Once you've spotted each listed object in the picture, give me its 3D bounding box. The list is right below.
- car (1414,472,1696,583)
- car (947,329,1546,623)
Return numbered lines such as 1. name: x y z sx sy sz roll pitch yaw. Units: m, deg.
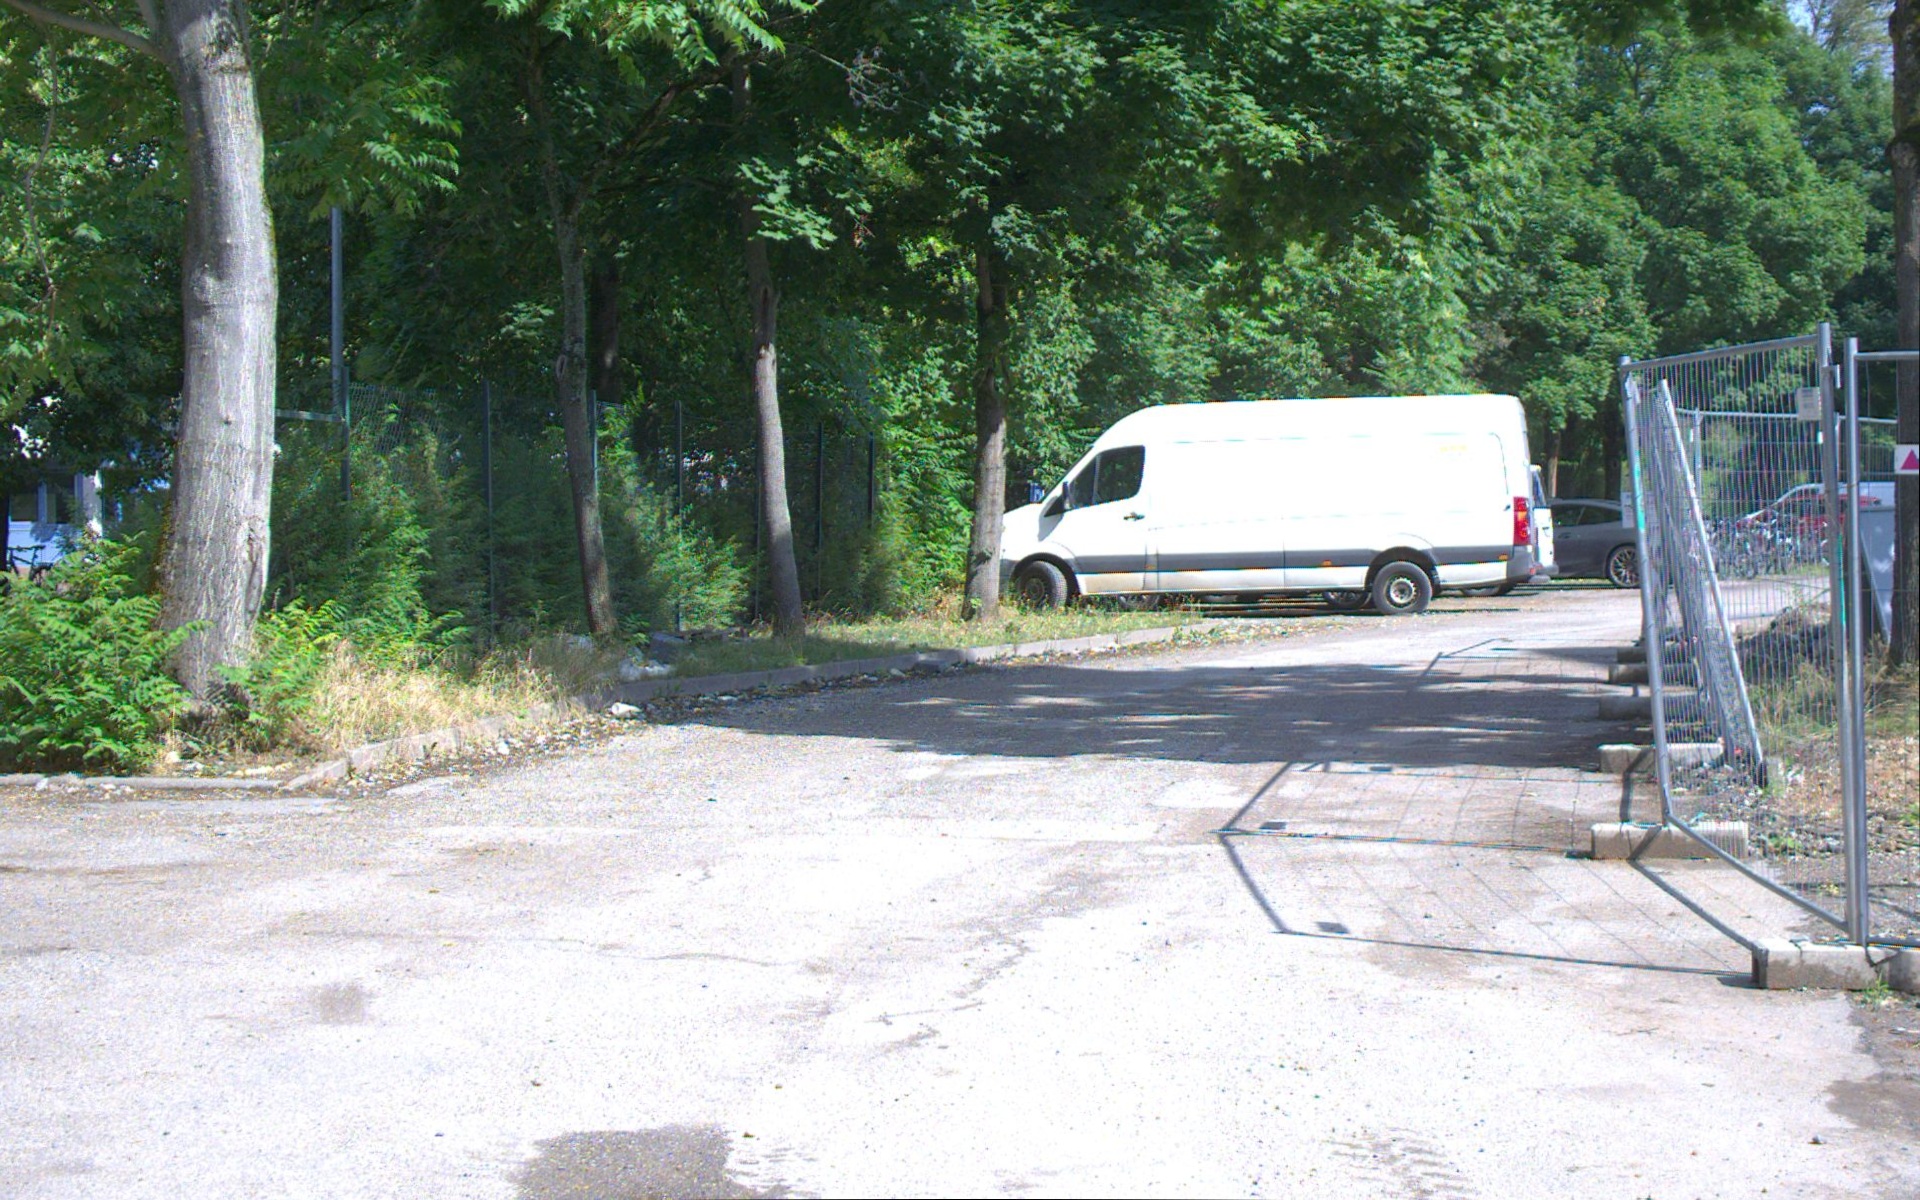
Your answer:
1. car: 9.314 -1.129 53.793 3.992 1.423 1.842 3 -2 22
2. car: 3.526 -1.496 42.072 6.955 3.037 1.999 4 0 9
